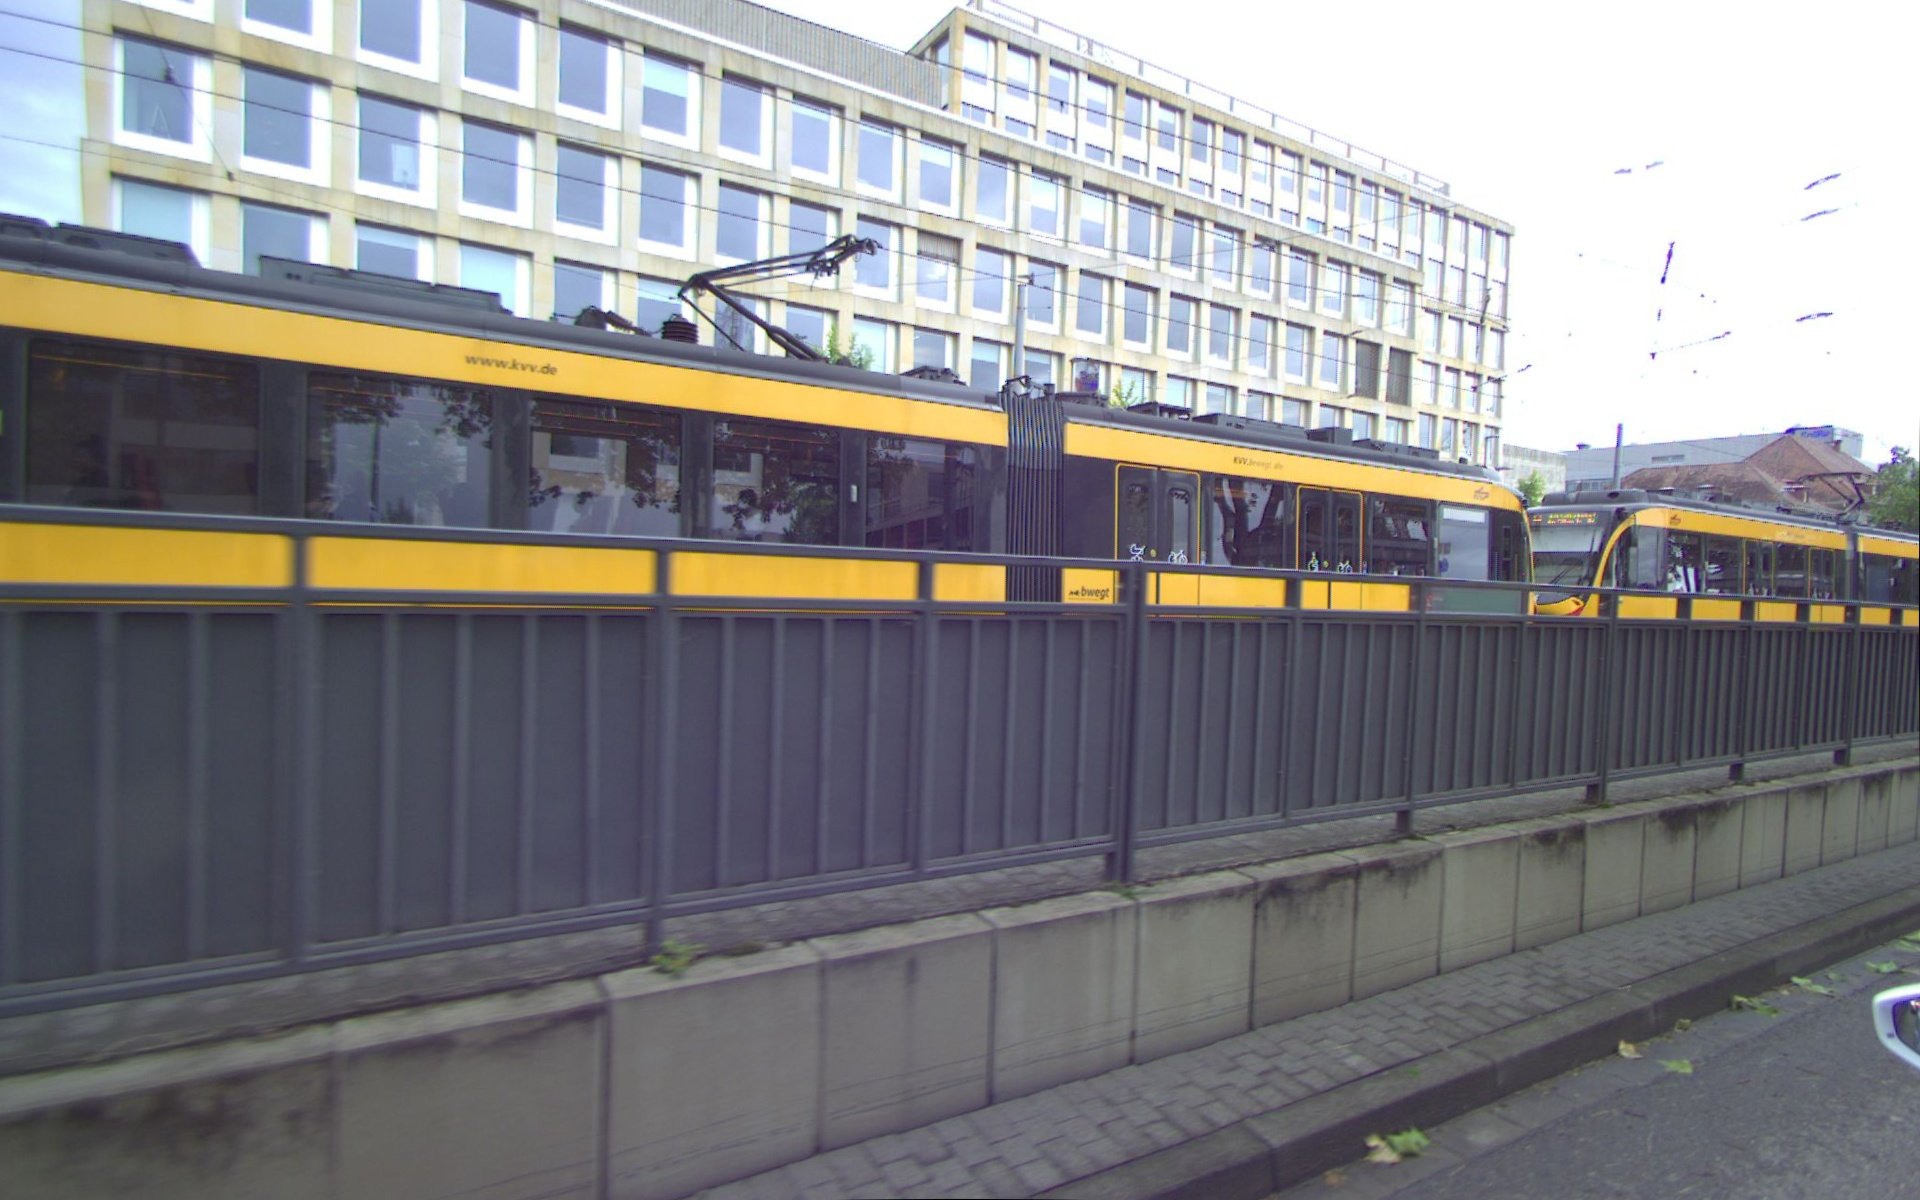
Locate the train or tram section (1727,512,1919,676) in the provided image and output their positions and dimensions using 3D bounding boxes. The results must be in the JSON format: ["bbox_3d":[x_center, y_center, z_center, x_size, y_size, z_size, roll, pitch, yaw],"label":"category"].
[{"bbox_3d":[29.008,0.018,31.068,14.566,4.235,3.163,2,1,-31],"label":"train or tram section"}]

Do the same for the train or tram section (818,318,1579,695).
[{"bbox_3d":[4.634,-0.885,16.158,13.465,4.235,3.164,2,1,-31],"label":"train or tram section"}]

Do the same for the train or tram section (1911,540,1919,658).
[{"bbox_3d":[41.417,0.233,38.636,14.566,4.235,3.163,2,1,-31],"label":"train or tram section"}]

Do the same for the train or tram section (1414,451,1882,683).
[{"bbox_3d":[16.612,-0.429,23.450,14.566,4.235,3.163,2,1,-31],"label":"train or tram section"}]

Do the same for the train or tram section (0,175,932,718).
[{"bbox_3d":[-5.948,-1.084,9.713,11.183,3.913,3.147,2,1,-31],"label":"train or tram section"}]
